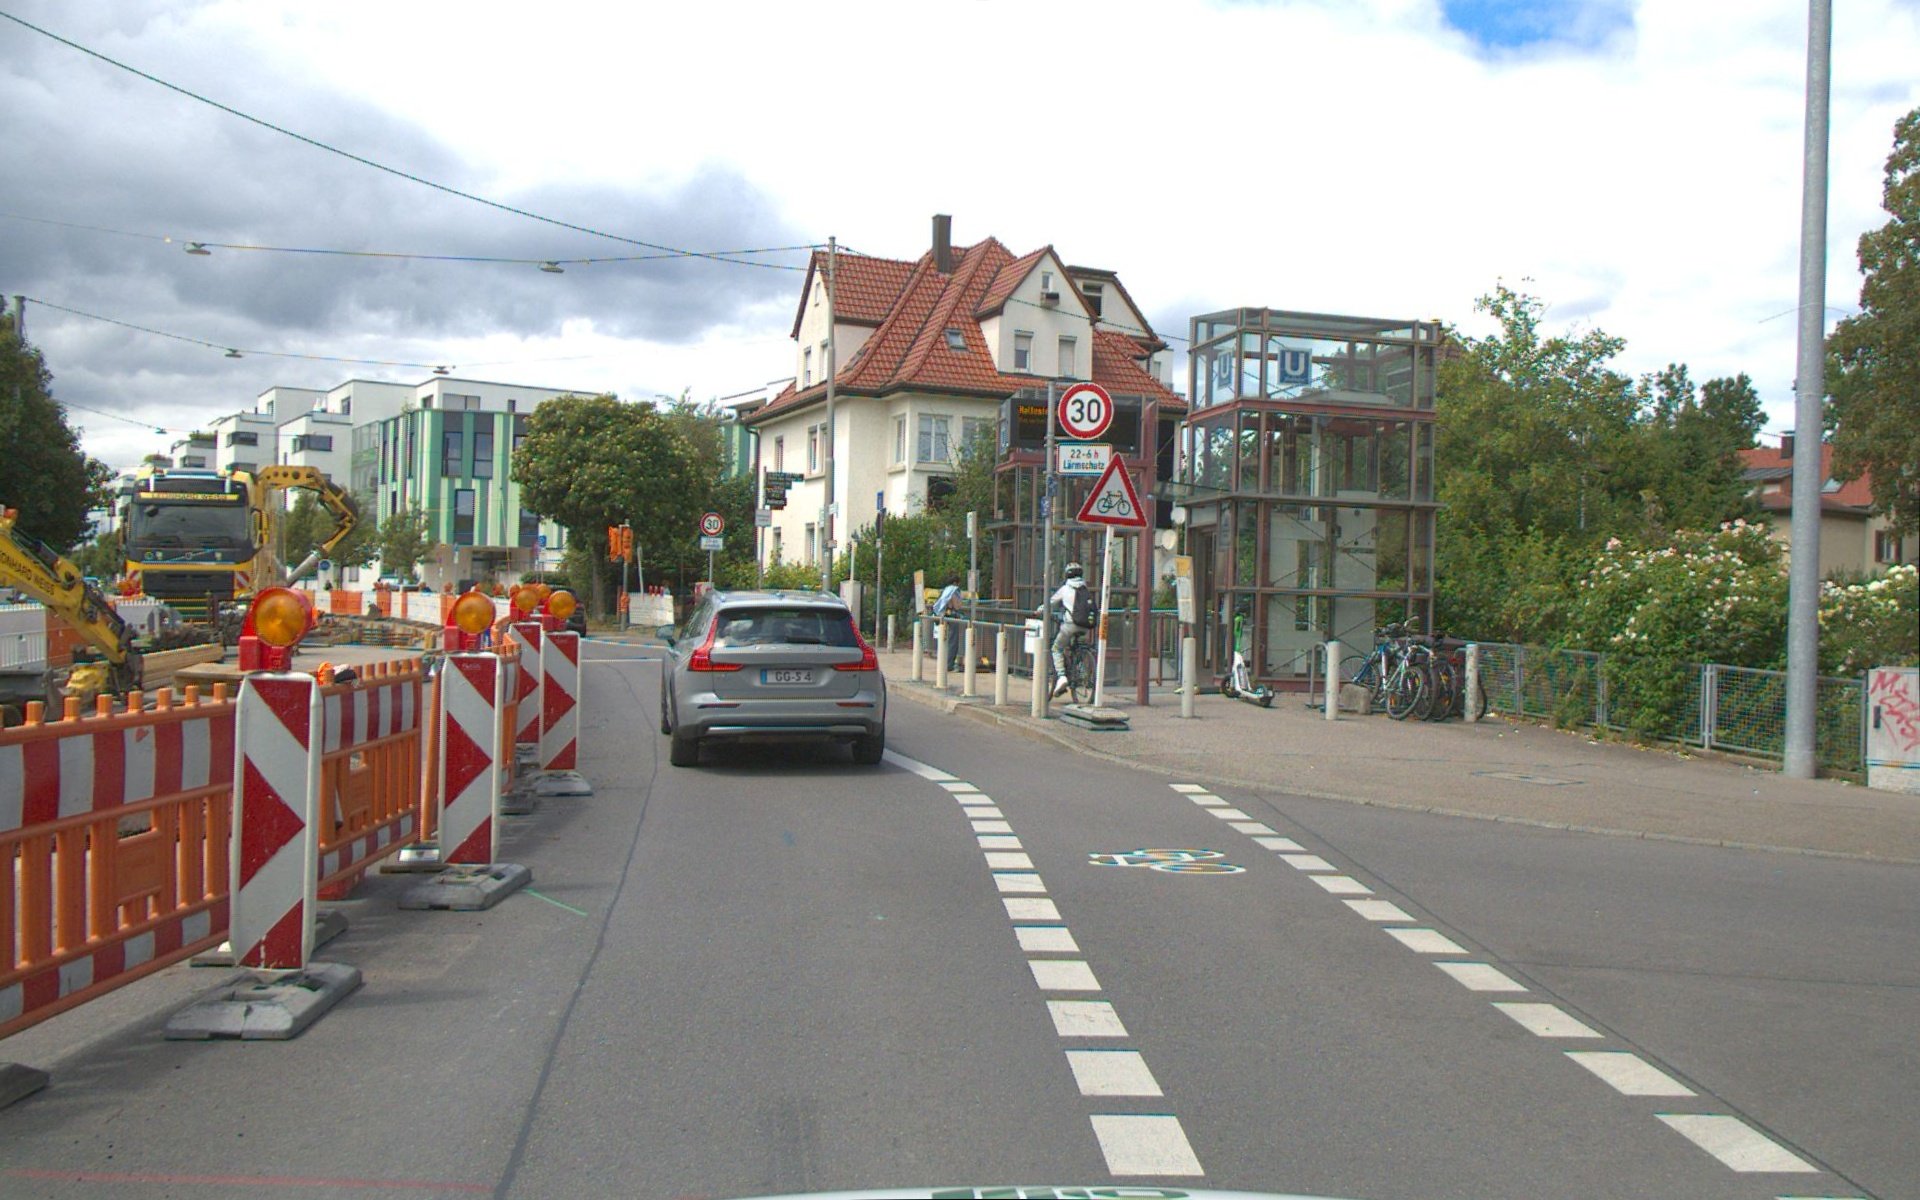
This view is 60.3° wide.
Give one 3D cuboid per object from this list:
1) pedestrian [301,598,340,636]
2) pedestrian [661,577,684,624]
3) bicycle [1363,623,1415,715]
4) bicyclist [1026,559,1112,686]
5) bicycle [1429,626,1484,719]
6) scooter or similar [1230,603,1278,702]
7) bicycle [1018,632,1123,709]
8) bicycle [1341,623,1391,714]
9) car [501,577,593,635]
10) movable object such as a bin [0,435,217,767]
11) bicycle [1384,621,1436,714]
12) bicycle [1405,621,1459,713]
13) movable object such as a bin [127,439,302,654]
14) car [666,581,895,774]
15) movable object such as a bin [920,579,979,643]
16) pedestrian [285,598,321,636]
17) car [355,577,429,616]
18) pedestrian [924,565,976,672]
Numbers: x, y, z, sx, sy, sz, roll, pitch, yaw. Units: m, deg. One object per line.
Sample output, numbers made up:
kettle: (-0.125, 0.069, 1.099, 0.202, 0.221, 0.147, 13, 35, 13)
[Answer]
pedestrian: (-17.281, 0.464, 44.726, 0.775, 1.008, 0.811, 0, 0, -5)
pedestrian: (-9.564, 0.020, 55.037, 0.517, 1.566, 0.626, 0, 0, -42)
bicycle: (5.055, 0.794, 19.510, 0.211, 1.018, 1.206, 0, 0, -4)
bicyclist: (1.270, 0.249, 19.423, 0.645, 1.440, 1.174, 1, 1, -14)
bicycle: (5.865, 0.841, 19.581, 0.211, 1.026, 1.188, 0, 0, -4)
scooter or similar: (3.614, 0.629, 20.371, 0.212, 1.131, 0.944, 0, 4, -13)
bicycle: (1.268, 0.800, 19.377, 0.625, 0.766, 2.055, 1, 1, -14)
bicycle: (4.780, 0.792, 19.493, 0.211, 1.006, 1.203, 0, 0, -4)
car: (-11.912, 0.154, 47.583, 1.831, 1.539, 3.969, 2, 0, -25)
movable object such as a bin: (-8.803, -0.012, 14.616, 1.954, 2.671, 6.517, 0, 1, -4)
bicycle: (5.312, 0.782, 19.557, 0.211, 1.031, 1.168, 0, 0, -4)
bicycle: (5.574, 0.780, 19.562, 0.211, 1.026, 1.188, 0, 0, -4)
movable object such as a bin: (-17.155, -1.141, 38.727, 2.551, 4.295, 11.063, 0, 1, -18)
car: (-1.670, 0.598, 15.262, 1.819, 1.539, 3.994, 0, 1, -7)
movable object such as a bin: (-0.258, 0.259, 39.629, 1.244, 1.496, 1.003, 2, 0, -8)
pedestrian: (-18.052, 0.458, 45.454, 0.627, 1.008, 0.794, 0, 0, 5)
car: (-24.122, -0.165, 70.200, 1.831, 1.539, 3.947, 2, 0, -37)
pedestrian: (-0.155, 0.295, 26.069, 0.588, 1.610, 0.400, 7, -3, -14)
